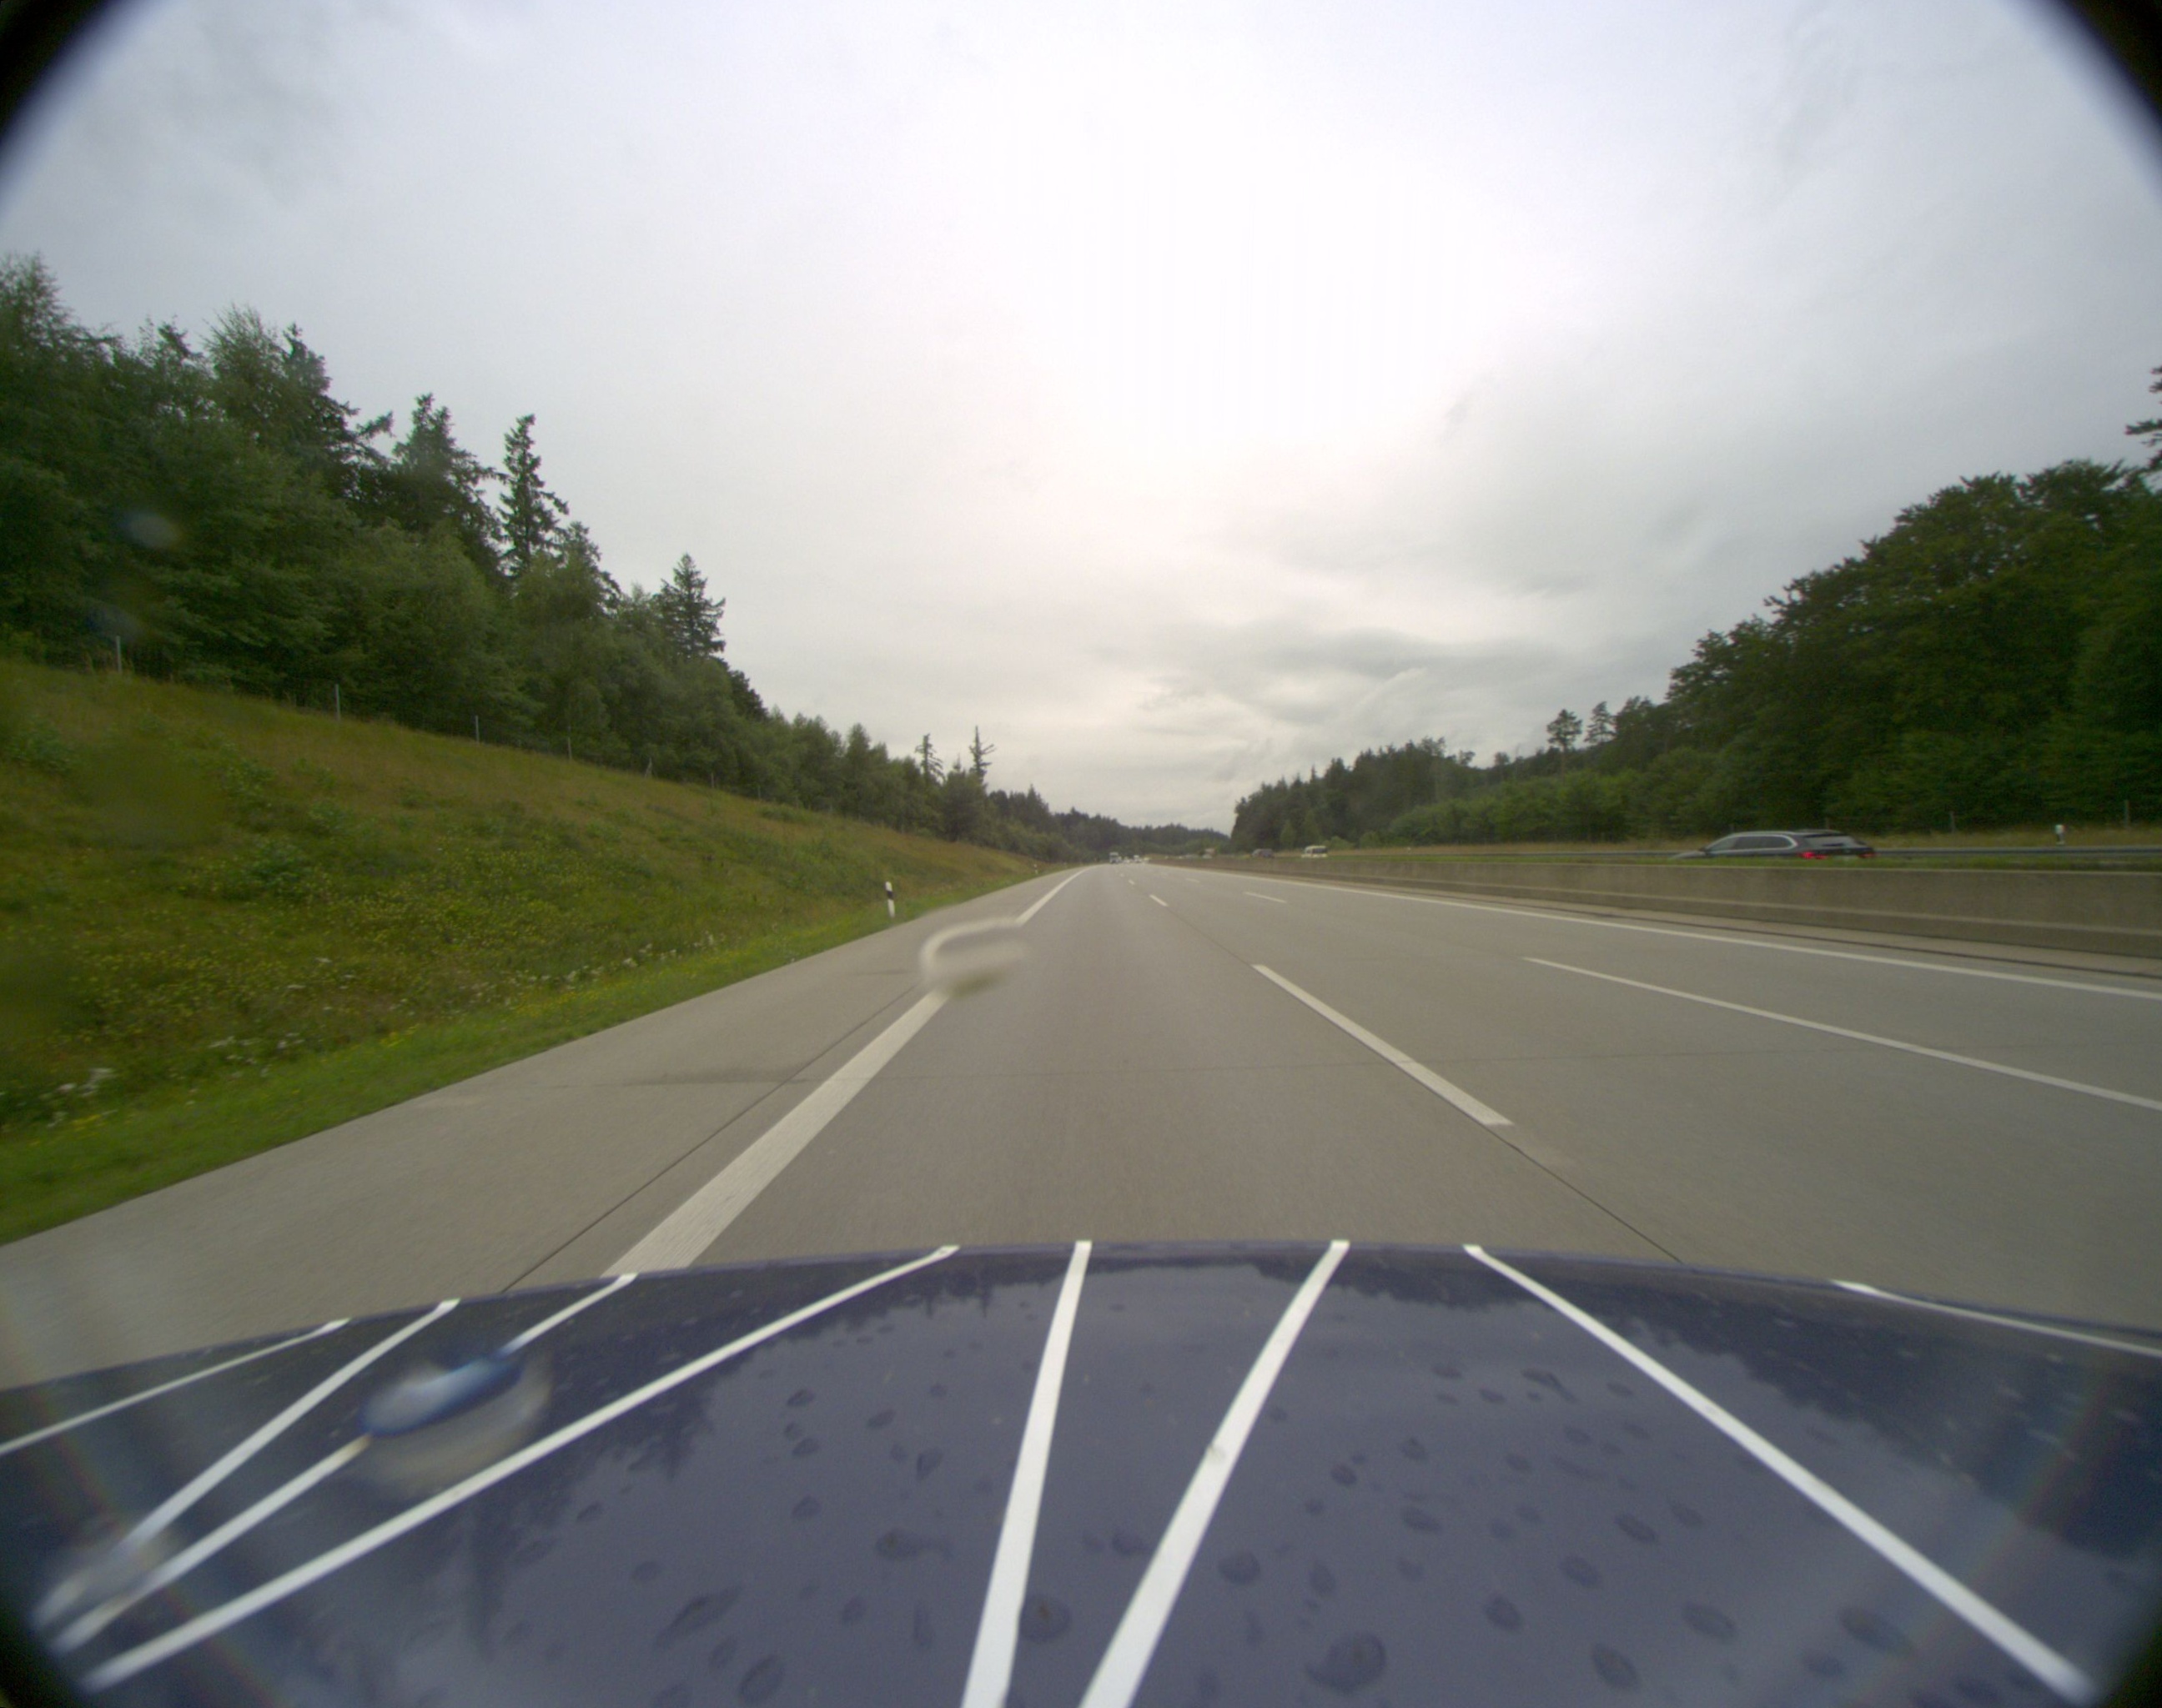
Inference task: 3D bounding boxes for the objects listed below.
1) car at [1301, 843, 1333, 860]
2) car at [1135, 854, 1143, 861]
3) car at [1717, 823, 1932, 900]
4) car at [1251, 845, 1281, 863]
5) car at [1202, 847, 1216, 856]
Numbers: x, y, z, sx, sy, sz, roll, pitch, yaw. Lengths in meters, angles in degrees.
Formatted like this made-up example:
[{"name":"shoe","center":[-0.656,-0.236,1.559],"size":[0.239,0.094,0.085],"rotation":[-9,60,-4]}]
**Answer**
[{"name":"car","center":[24.364,-0.226,78.512],"size":[1.998,1.620,4.153],"rotation":[-2,0,1]},{"name":"car","center":[18.467,1.196,243.669],"size":[2.213,2.001,4.835],"rotation":[-3,-1,1]},{"name":"car","center":[17.779,0.149,18.431],"size":[1.692,1.623,3.594],"rotation":[-2,1,1]},{"name":"car","center":[18.046,-0.011,74.280],"size":[1.998,1.620,4.000],"rotation":[-2,0,1]},{"name":"car","center":[24.251,-0.460,144.073],"size":[1.856,1.620,3.933],"rotation":[-2,0,1]}]
